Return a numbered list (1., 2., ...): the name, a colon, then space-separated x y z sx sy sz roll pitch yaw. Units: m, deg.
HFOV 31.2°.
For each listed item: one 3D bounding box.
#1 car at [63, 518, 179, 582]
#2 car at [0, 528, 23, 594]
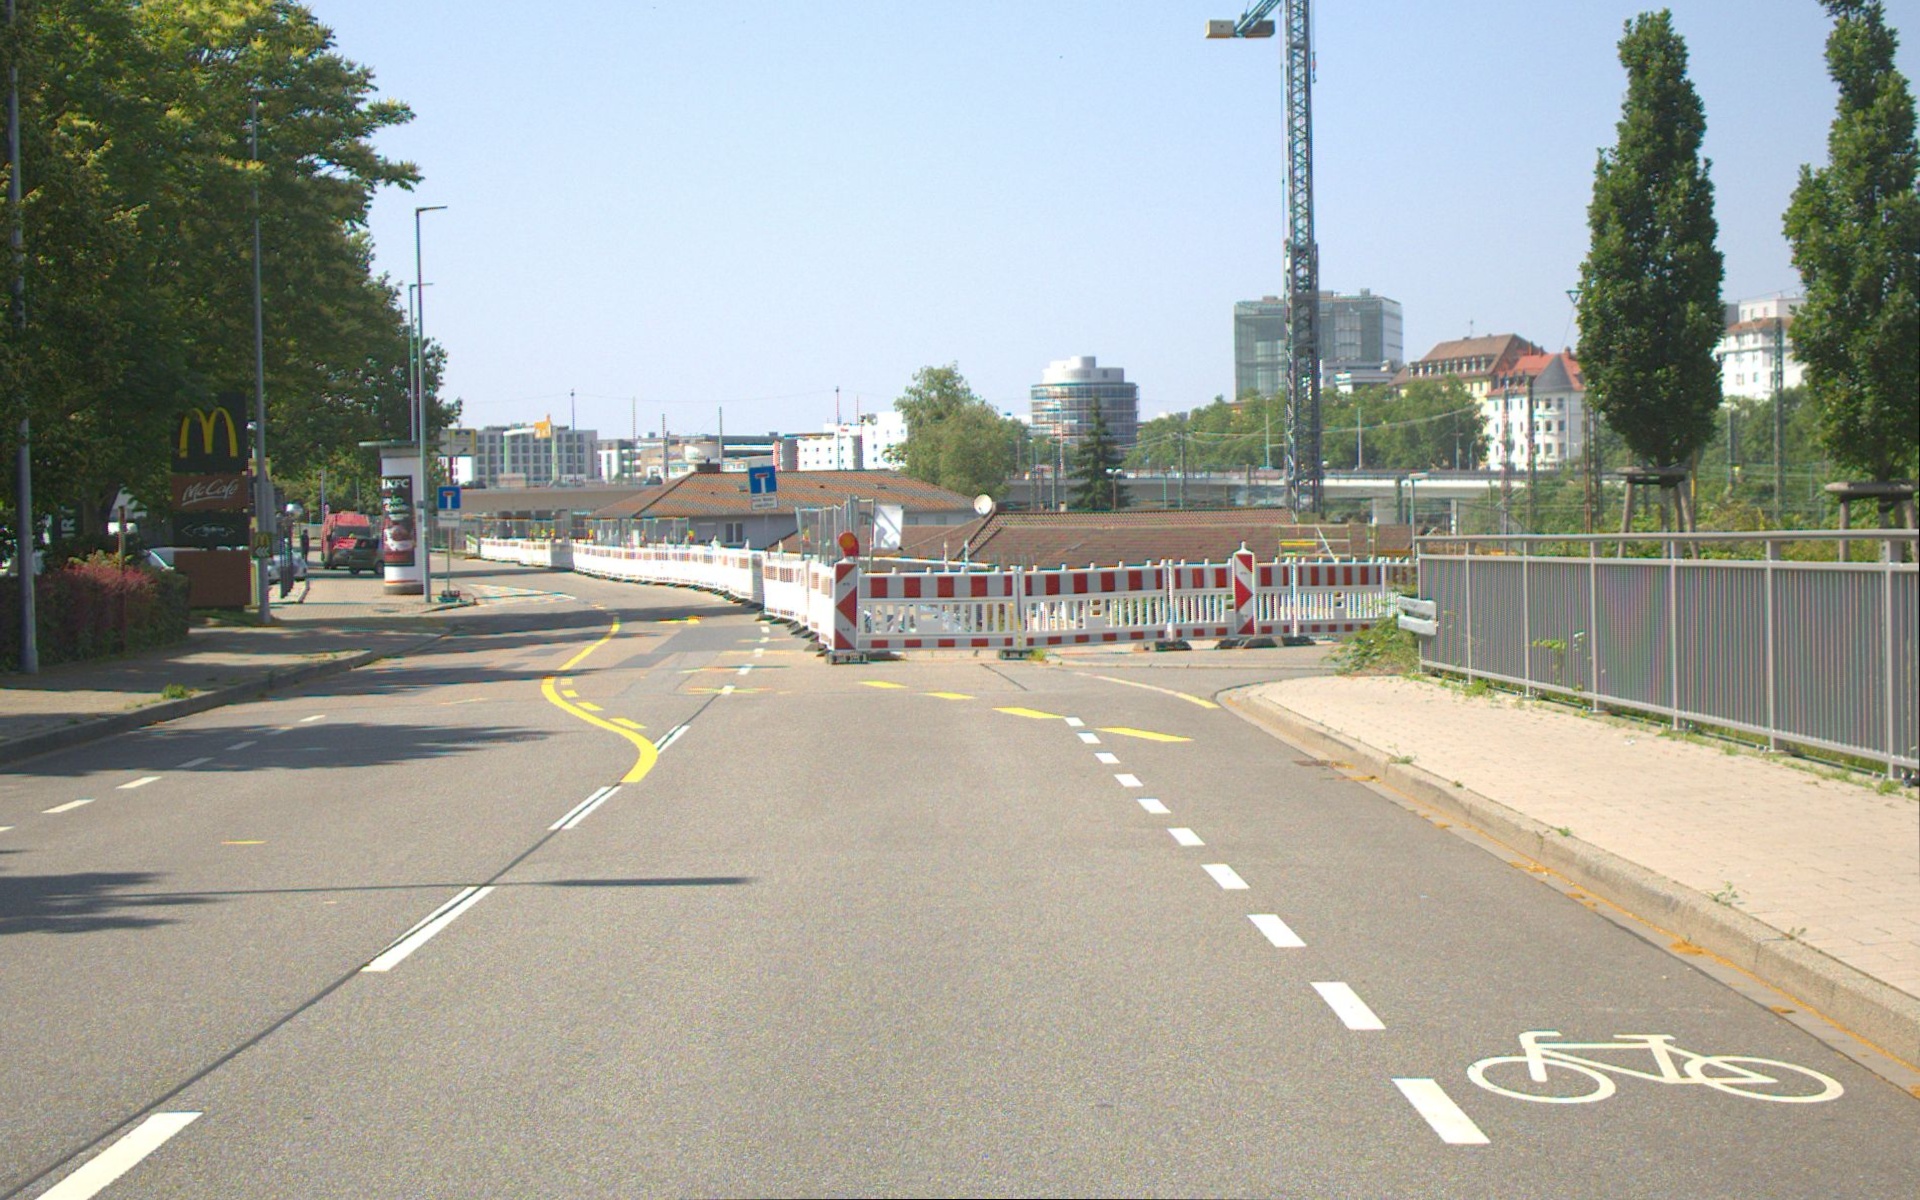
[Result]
1. car: -26.014 -1.534 106.554 1.824 1.923 3.998 -2 1 -41
2. car: -29.467 -1.132 101.336 1.994 1.897 3.998 -2 1 -41
